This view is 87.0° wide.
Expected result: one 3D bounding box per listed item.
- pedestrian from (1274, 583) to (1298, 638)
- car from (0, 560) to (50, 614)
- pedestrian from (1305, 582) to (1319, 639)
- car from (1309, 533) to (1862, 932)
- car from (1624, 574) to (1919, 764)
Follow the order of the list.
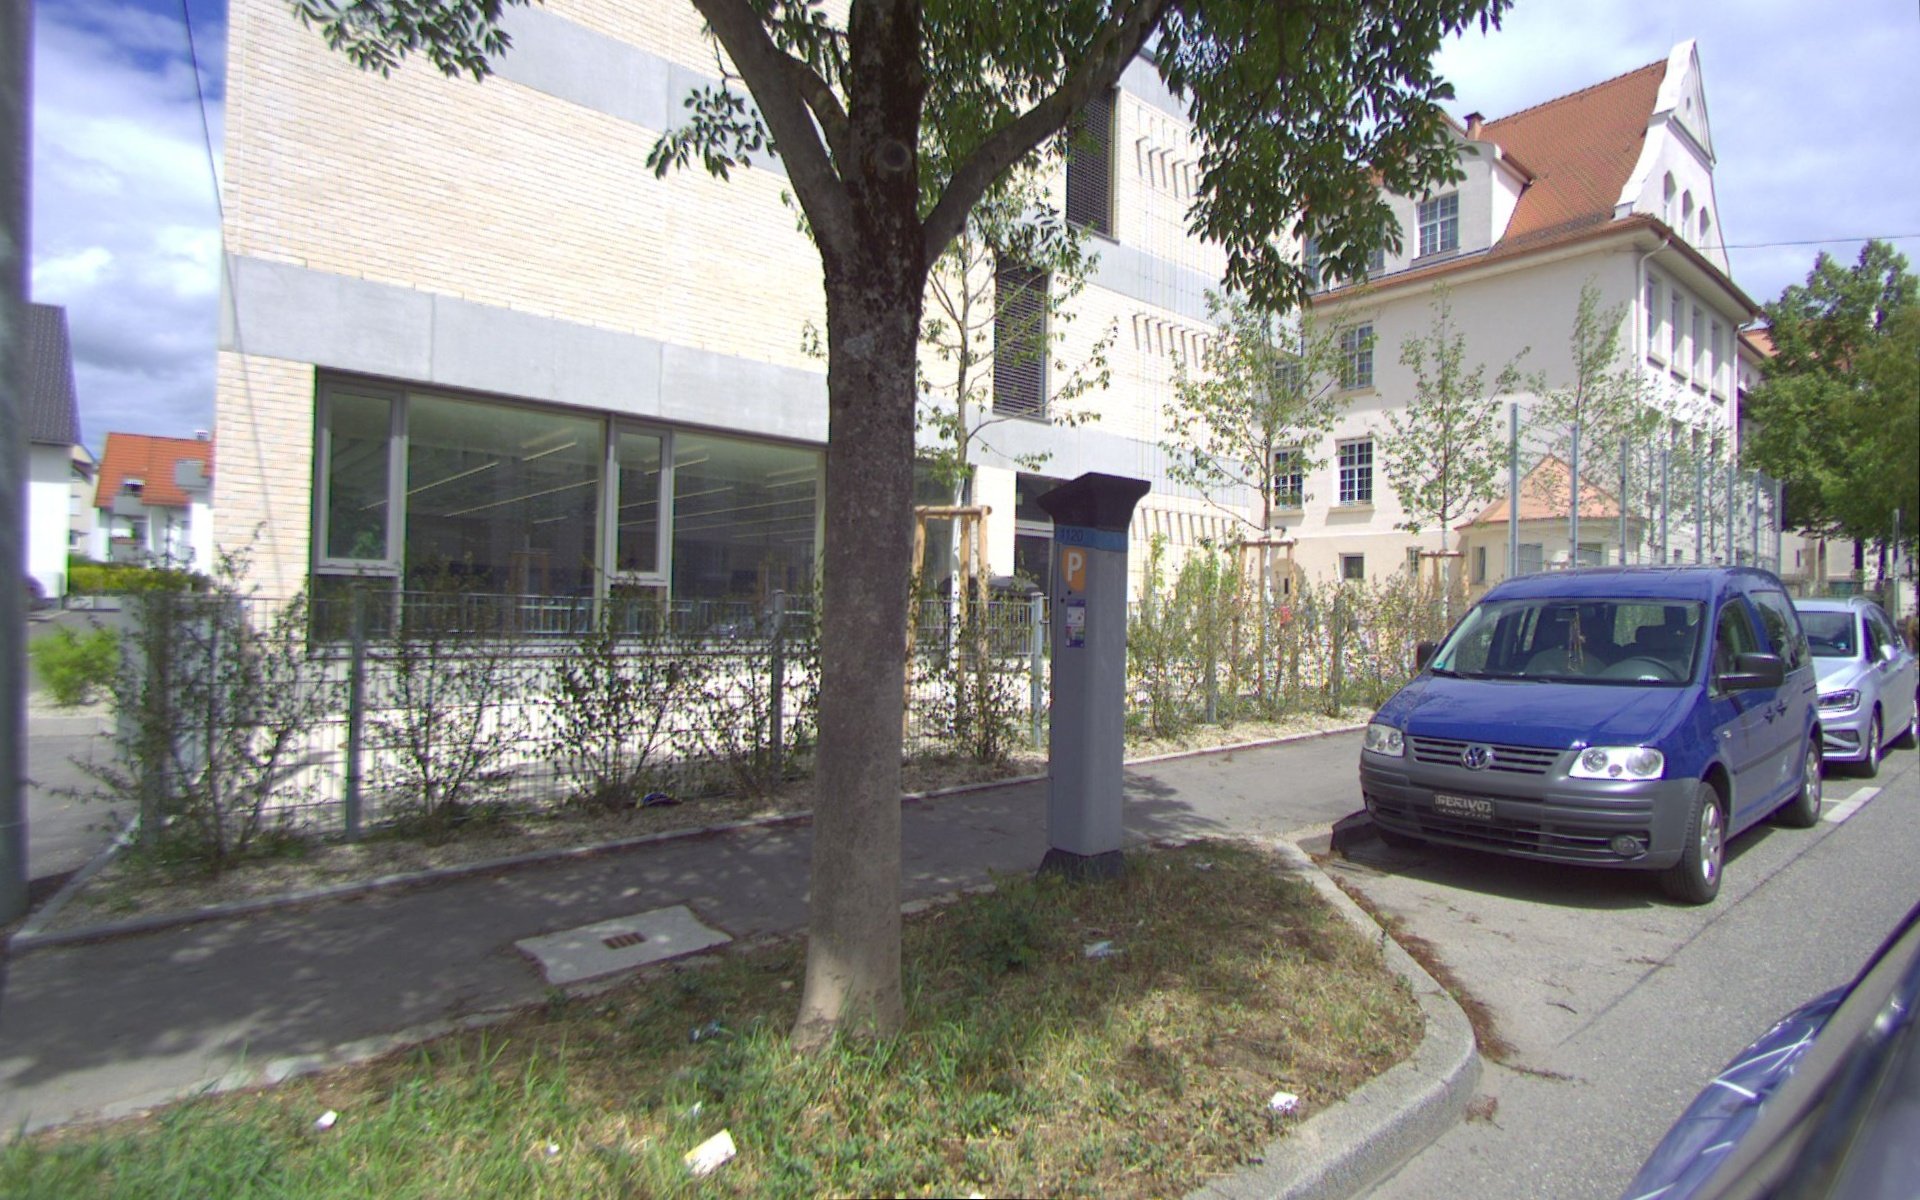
[{"bbox_3d":[8.863,0.280,27.511,0.540,1.484,0.359,-1,-1,36],"label":"pedestrian"},{"bbox_3d":[-28.077,-0.360,28.111,3.922,1.505,1.785,0,1,-33],"label":"car"},{"bbox_3d":[9.155,0.266,26.322,0.293,1.484,0.244,-1,-1,36],"label":"pedestrian"},{"bbox_3d":[4.339,0.563,6.696,4.436,1.790,1.847,-1,0,-41],"label":"car"},{"bbox_3d":[8.455,0.523,10.232,4.288,1.528,1.789,-1,0,-41],"label":"car"}]
